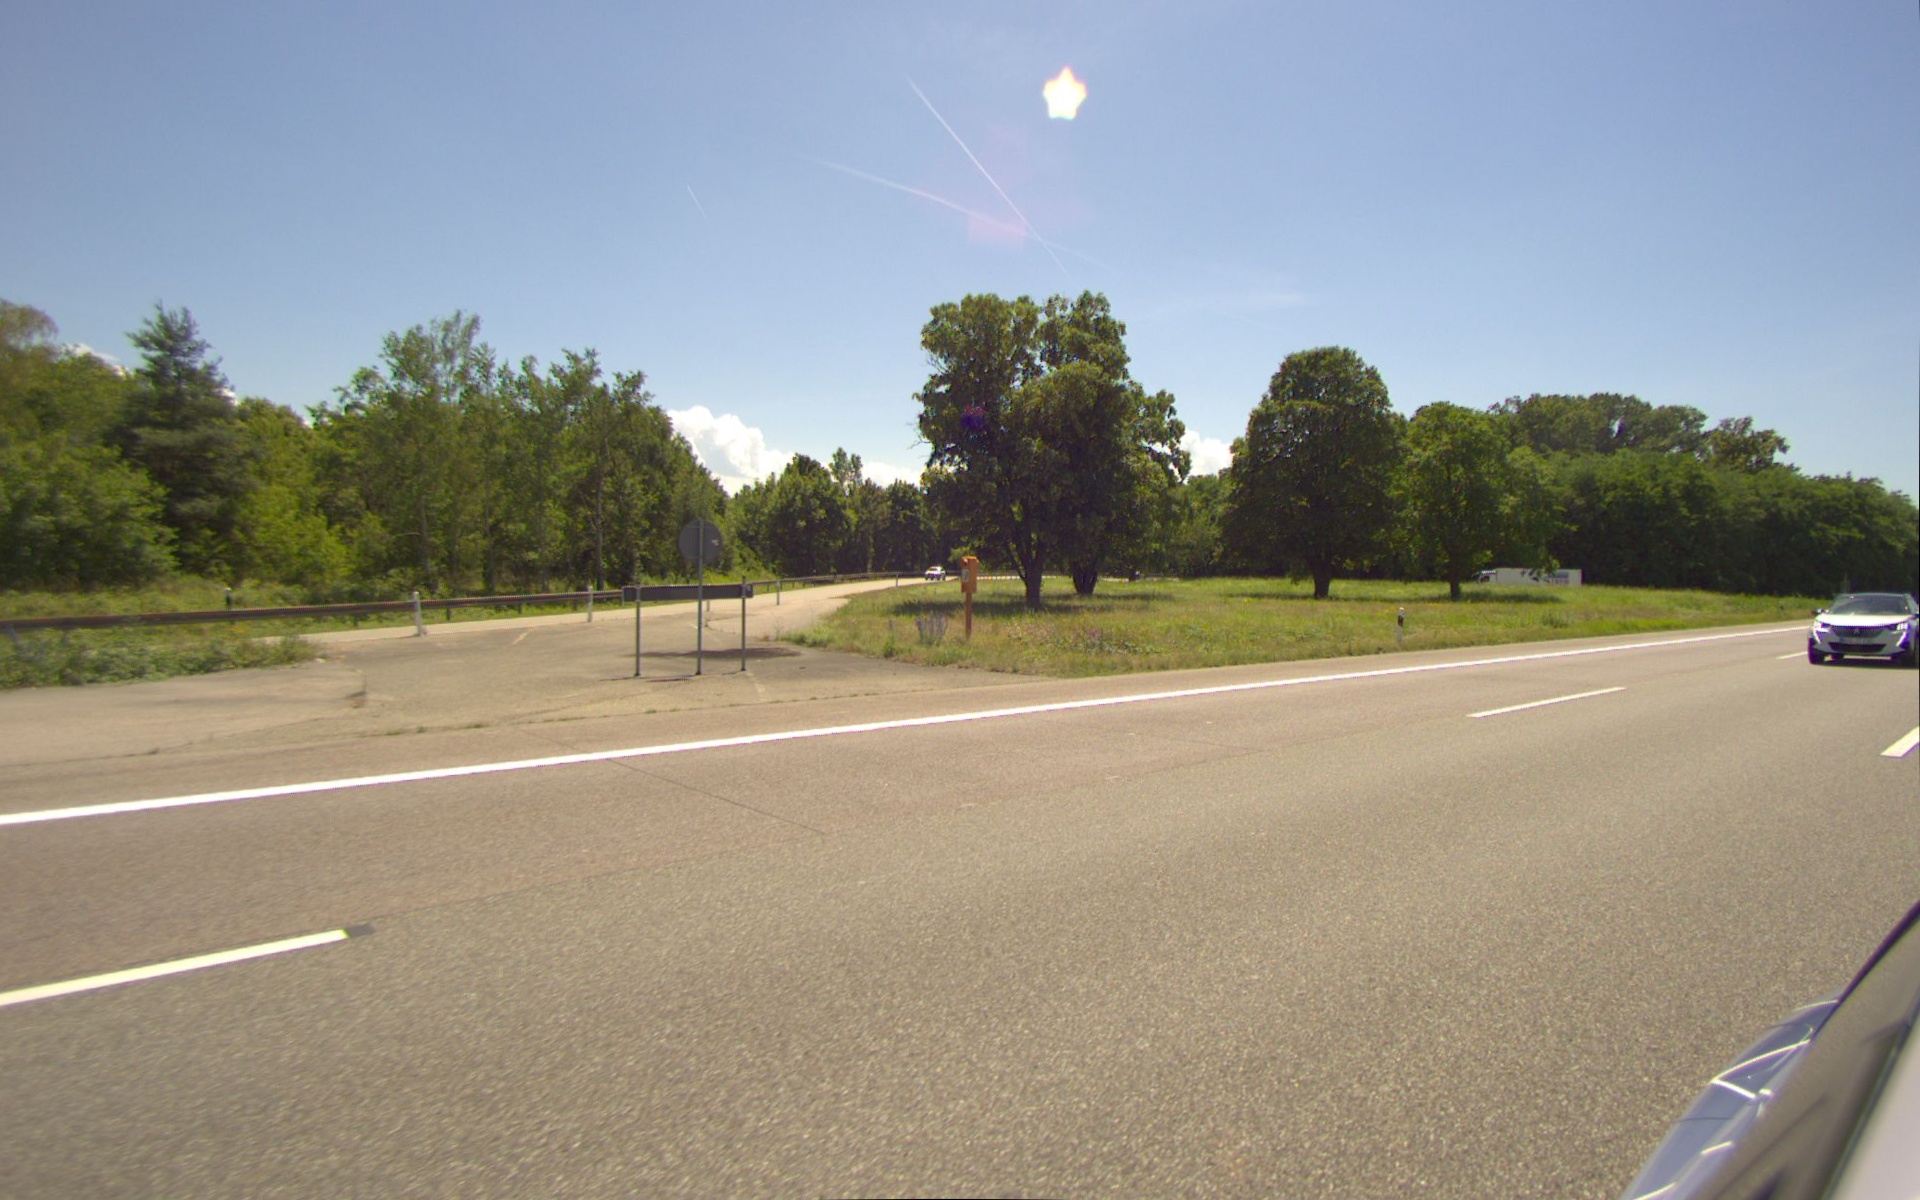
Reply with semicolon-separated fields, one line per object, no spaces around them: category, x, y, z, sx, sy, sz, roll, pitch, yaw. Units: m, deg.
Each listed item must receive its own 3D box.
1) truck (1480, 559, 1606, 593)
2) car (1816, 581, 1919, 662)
truck;58.877;-2.355;102.545;10.632;3.361;3.019;0;0;20
car;20.656;0.413;22.484;4.725;1.628;1.830;-1;1;-41
